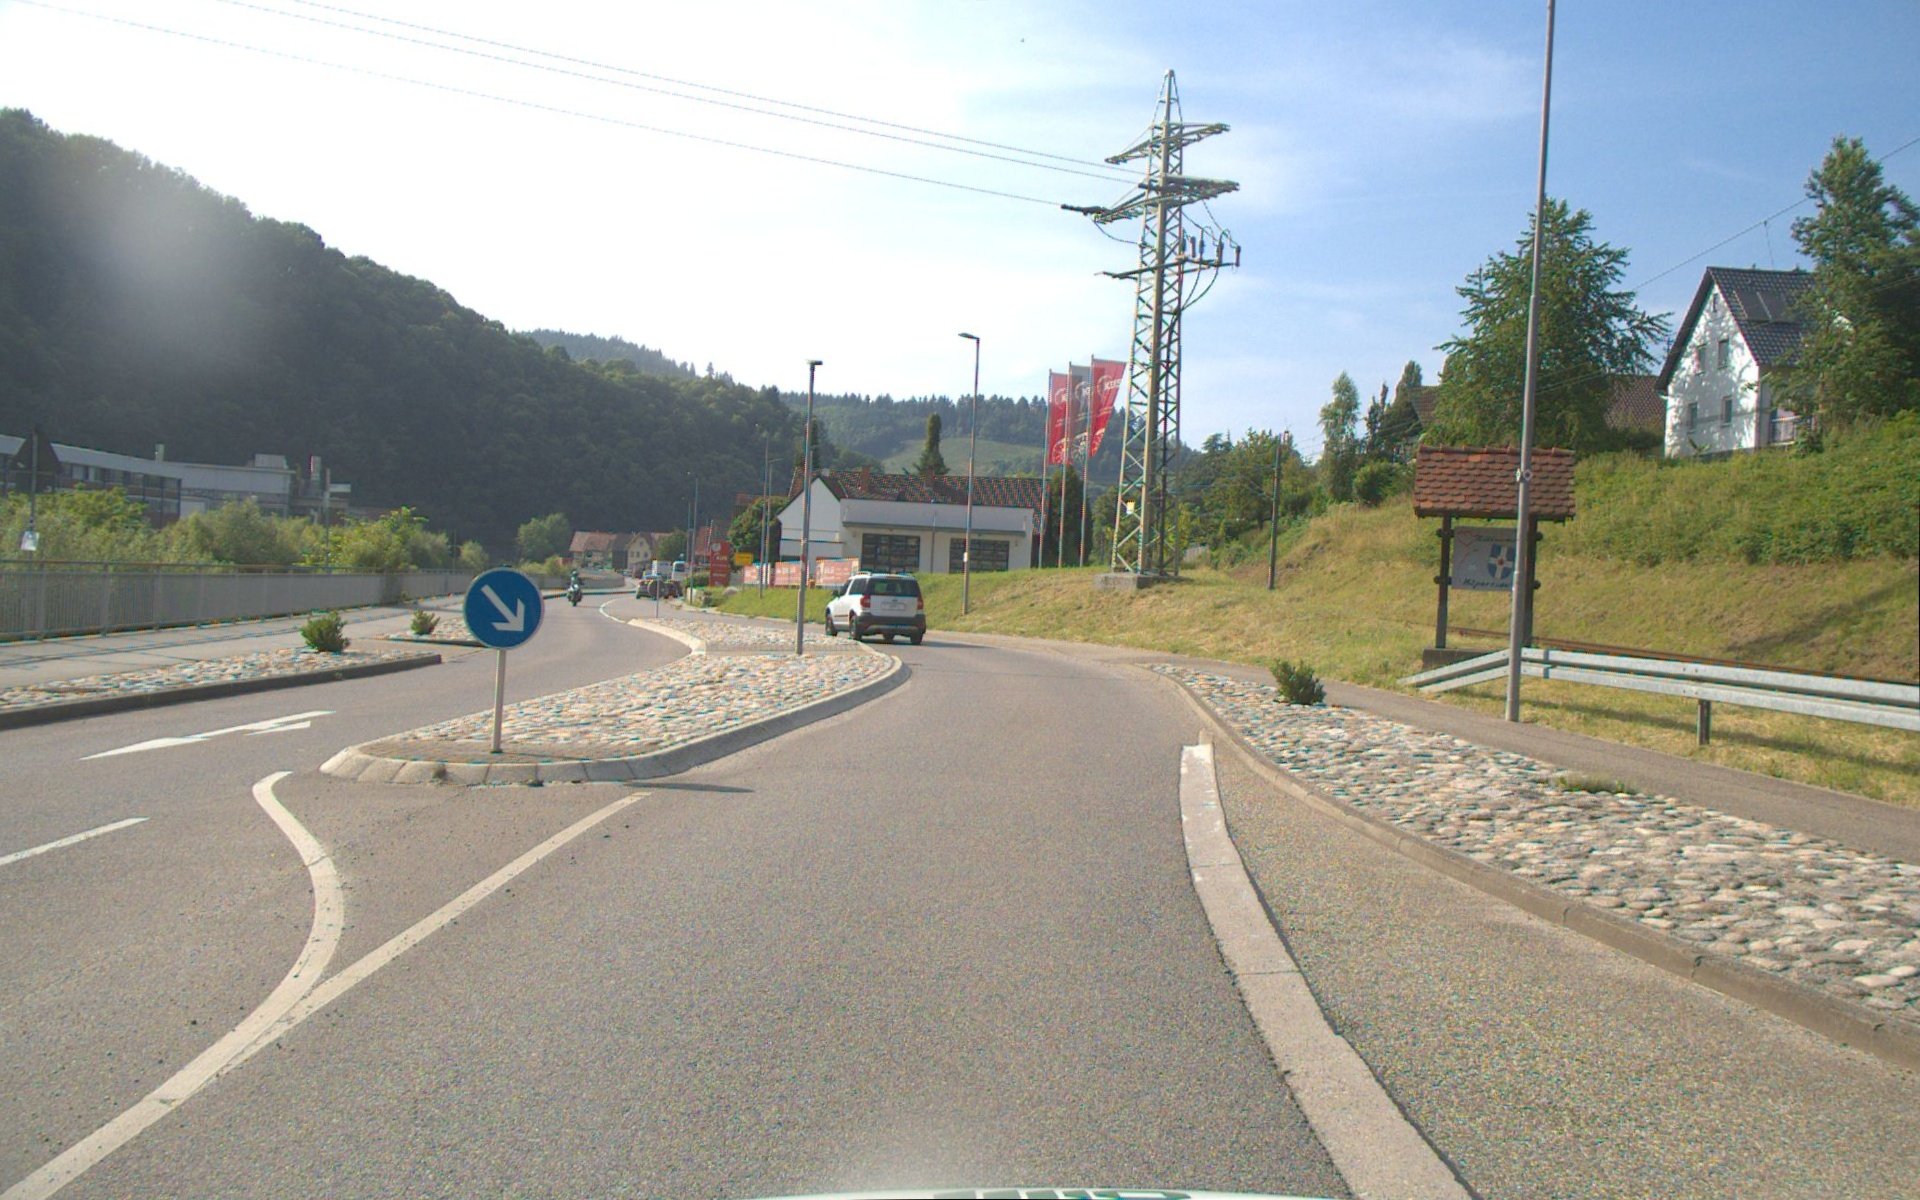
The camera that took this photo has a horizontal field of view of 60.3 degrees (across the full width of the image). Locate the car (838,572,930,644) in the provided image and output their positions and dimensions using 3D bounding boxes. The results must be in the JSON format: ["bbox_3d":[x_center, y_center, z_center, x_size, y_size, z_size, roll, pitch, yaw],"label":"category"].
[{"bbox_3d":[-1.933,0.186,40.812,1.826,1.571,4.365,3,0,-8],"label":"car"}]

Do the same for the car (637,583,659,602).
[{"bbox_3d":[-25.431,-0.622,134.861,1.426,1.460,2.932,3,1,-7],"label":"car"}]

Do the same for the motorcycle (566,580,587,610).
[{"bbox_3d":[-18.925,-0.246,81.607,0.758,1.447,2.314,2,0,-8],"label":"motorcycle"}]

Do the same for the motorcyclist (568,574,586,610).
[{"bbox_3d":[-18.905,-0.387,81.584,0.748,1.707,0.726,2,-1,-8],"label":"motorcyclist"}]

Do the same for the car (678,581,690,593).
[{"bbox_3d":[-27.863,-1.319,166.900,1.149,1.175,2.677,3,1,-11],"label":"car"}]

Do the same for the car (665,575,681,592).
[{"bbox_3d":[-27.083,-1.593,156.106,1.268,1.460,2.801,3,1,-8],"label":"car"}]
